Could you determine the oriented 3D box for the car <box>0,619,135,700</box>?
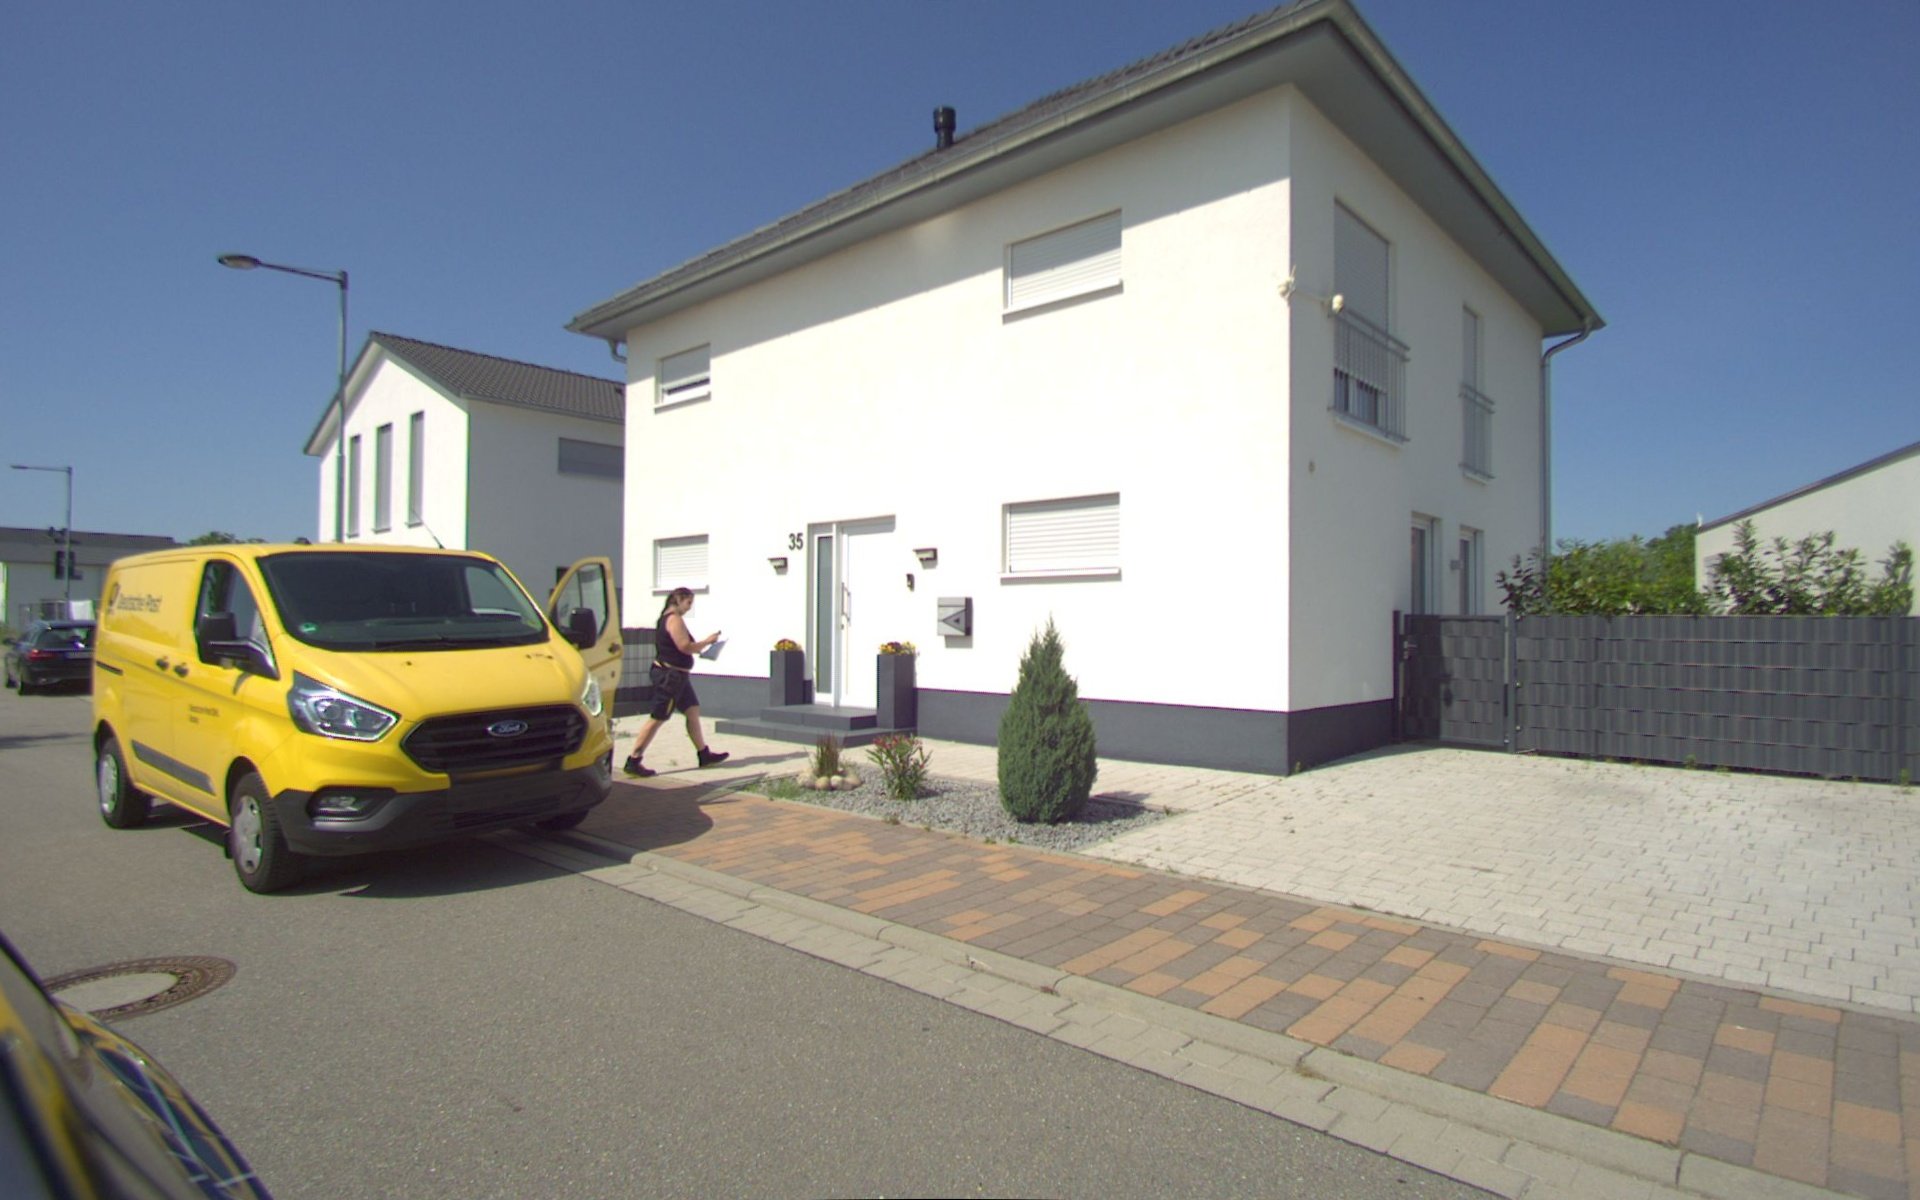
[{"bbox_3d":[-18.550,1.147,20.947,4.444,1.484,1.672,-1,-1,43],"label":"car"}]

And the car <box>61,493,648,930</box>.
[{"bbox_3d":[-4.375,0.558,6.947,4.834,2.029,1.866,-1,-1,38],"label":"car"}]

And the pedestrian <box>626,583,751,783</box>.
[{"bbox_3d":[-2.456,0.709,9.171,0.918,1.698,0.538,-2,0,-39],"label":"pedestrian"}]
